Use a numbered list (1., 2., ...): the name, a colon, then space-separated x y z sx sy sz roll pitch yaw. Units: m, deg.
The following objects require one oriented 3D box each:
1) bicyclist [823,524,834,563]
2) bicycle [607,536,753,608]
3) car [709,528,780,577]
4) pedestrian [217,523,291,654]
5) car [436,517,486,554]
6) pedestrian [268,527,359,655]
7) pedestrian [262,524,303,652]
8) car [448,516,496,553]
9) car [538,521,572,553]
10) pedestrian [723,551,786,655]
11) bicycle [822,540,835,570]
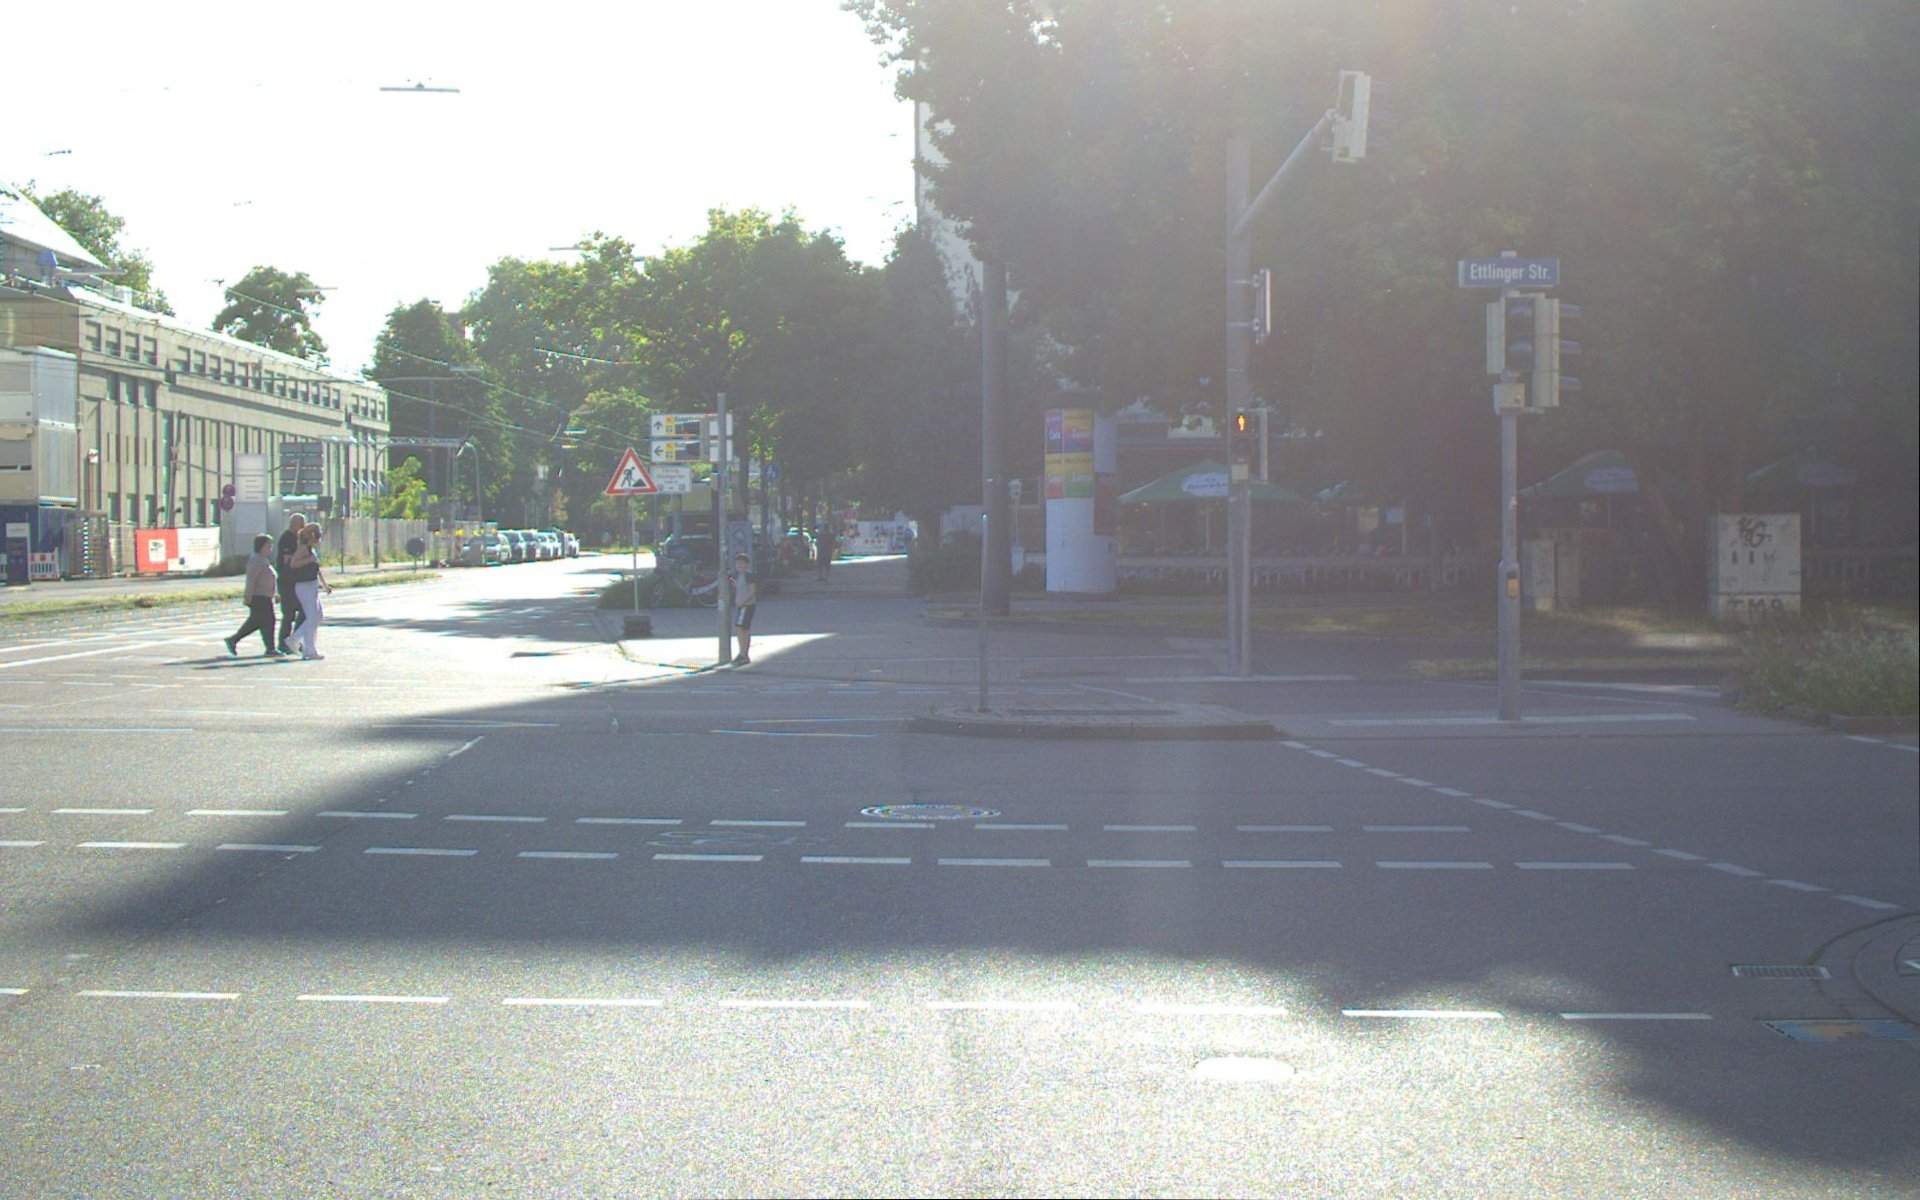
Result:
1. bicyclist: -3.802 -1.631 99.277 0.318 1.123 0.291 -1 1 -1
2. bicycle: -5.464 -0.549 67.140 2.748 1.363 0.630 1 0 11
3. car: -5.711 -1.272 91.497 1.819 1.274 4.001 0 1 -3
4. pedestrian: -8.937 -0.149 43.516 0.795 1.634 0.533 0 1 2
5. car: -22.623 -2.912 156.000 1.731 1.647 4.000 0 1 -1
6. pedestrian: -8.083 -0.111 42.996 0.984 1.582 0.660 0 0 1
7. pedestrian: -8.851 -0.157 44.922 0.441 1.657 0.376 -1 1 -1
8. car: -22.714 -3.050 160.086 1.731 1.647 4.000 0 1 -1
9. car: -22.811 -3.564 193.699 1.483 1.744 4.000 -1 1 -1
10. pedestrian: -2.643 0.034 44.273 0.752 1.328 0.742 0 1 1
11. bicycle: -3.809 -1.304 99.396 0.324 0.865 1.483 -1 1 -1
